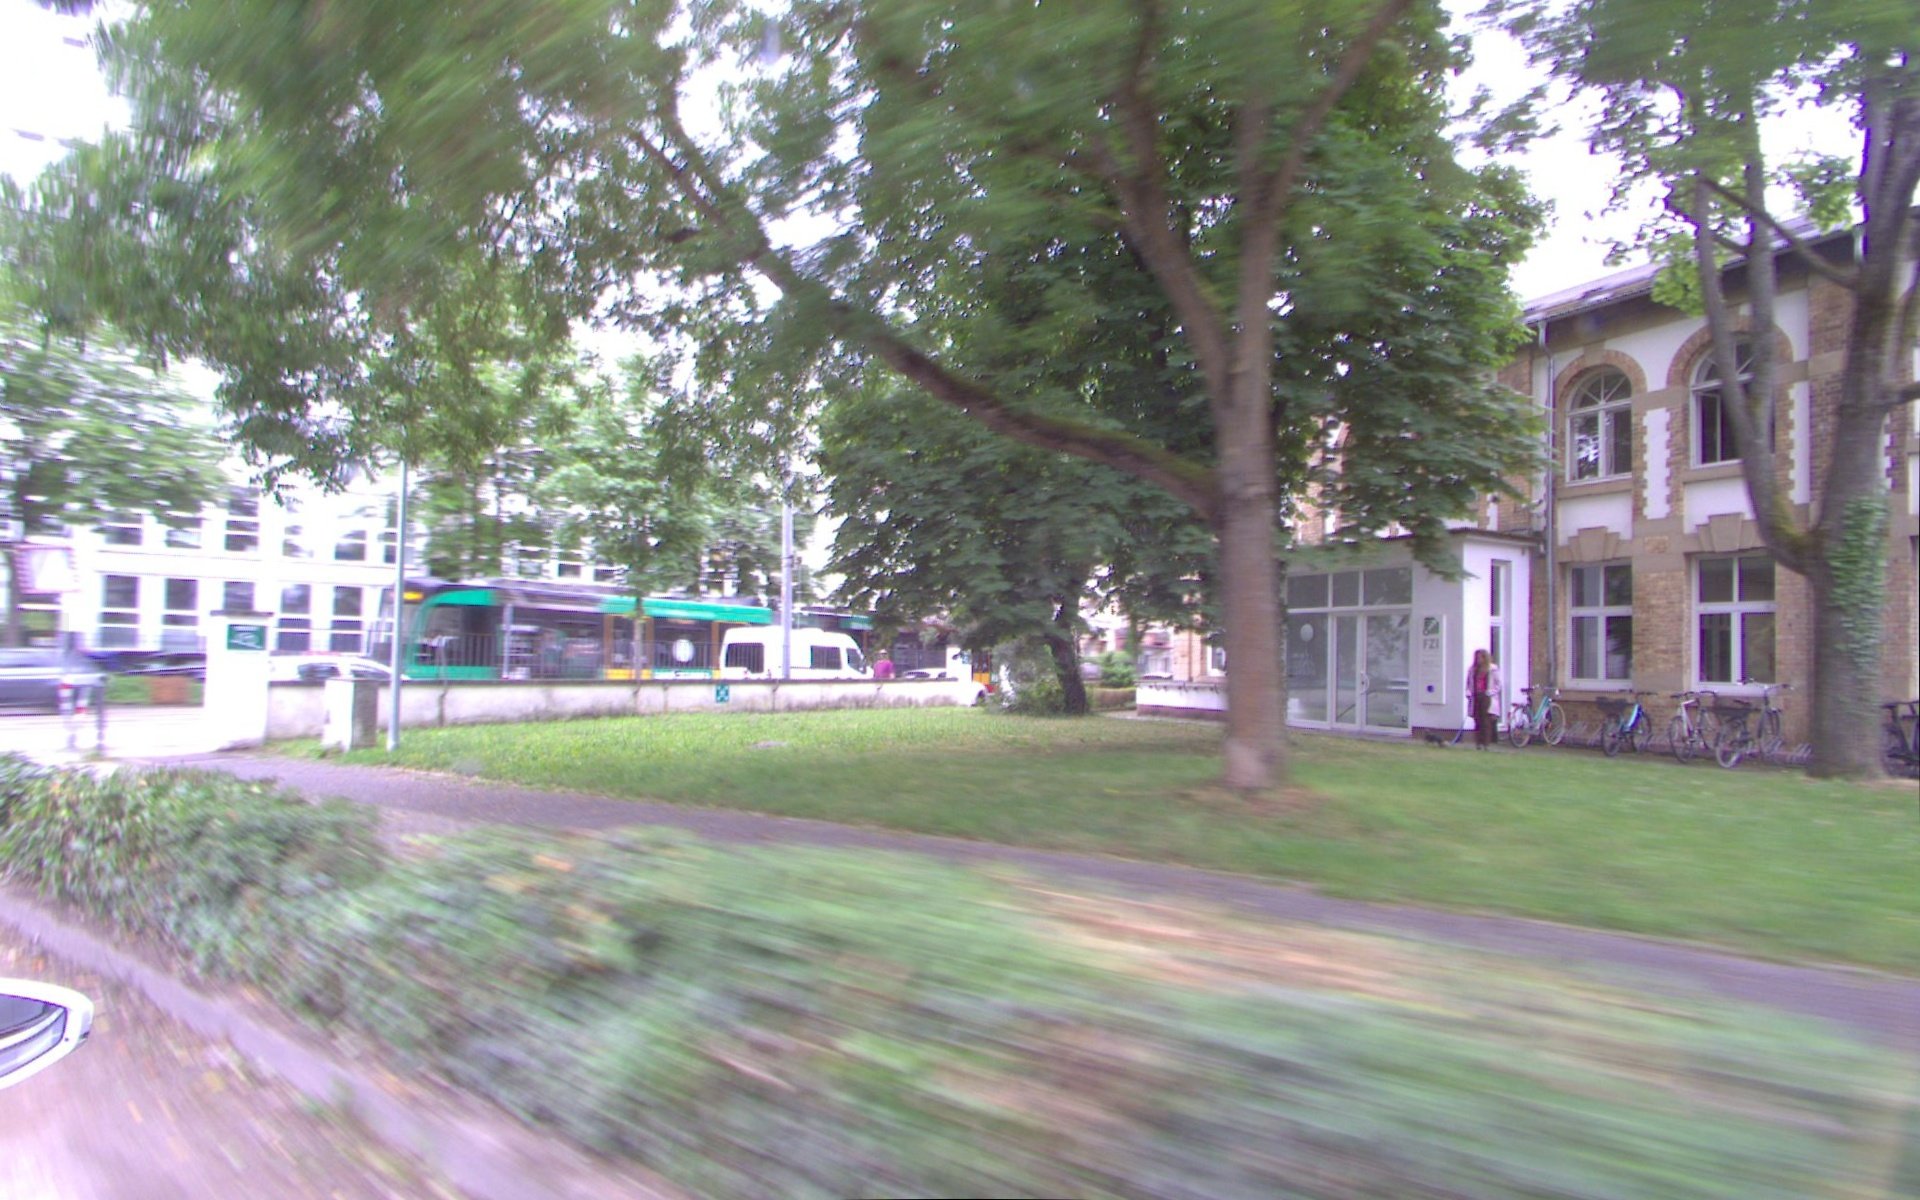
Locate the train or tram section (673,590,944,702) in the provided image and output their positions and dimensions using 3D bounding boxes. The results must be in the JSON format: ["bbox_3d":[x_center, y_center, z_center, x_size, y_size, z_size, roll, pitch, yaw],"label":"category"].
[{"bbox_3d":[-5.218,1.850,38.462,2.631,3.659,12.396,-1,-3,33],"label":"train or tram section"}]

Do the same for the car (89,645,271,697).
[{"bbox_3d":[-23.192,2.127,29.929,3.883,1.492,1.672,1,-3,-14],"label":"car"}]

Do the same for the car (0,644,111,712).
[{"bbox_3d":[-20.845,1.666,21.694,1.499,1.437,3.415,-1,-3,33],"label":"car"}]

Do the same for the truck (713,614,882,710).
[{"bbox_3d":[-4.659,1.801,29.427,2.140,2.577,4.904,-1,-3,33],"label":"truck"}]

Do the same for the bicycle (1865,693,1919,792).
[{"bbox_3d":[12.411,1.808,12.938,1.718,1.129,0.459,0,-1,-27],"label":"bicycle"}]

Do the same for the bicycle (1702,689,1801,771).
[{"bbox_3d":[11.489,1.864,14.525,1.718,1.128,0.459,3,-3,-27],"label":"bicycle"}]

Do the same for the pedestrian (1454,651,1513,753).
[{"bbox_3d":[8.463,1.634,16.202,0.595,1.606,0.624,2,-2,-29],"label":"pedestrian"}]

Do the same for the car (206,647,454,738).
[{"bbox_3d":[-11.739,1.695,18.858,1.643,1.519,3.576,-1,-4,34],"label":"car"}]

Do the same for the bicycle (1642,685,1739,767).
[{"bbox_3d":[11.122,1.891,15.235,1.718,1.129,0.459,0,-2,-27],"label":"bicycle"}]

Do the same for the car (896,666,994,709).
[{"bbox_3d":[-0.462,3.072,35.587,1.785,1.371,3.796,-1,-3,30],"label":"car"}]

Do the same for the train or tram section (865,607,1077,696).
[{"bbox_3d":[1.102,2.520,47.955,2.631,3.659,14.698,-1,-3,33],"label":"train or tram section"}]

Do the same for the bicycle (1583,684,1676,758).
[{"bbox_3d":[10.725,1.920,16.018,1.718,1.128,0.459,3,-3,-27],"label":"bicycle"}]

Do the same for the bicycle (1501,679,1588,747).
[{"bbox_3d":[10.137,1.945,17.359,1.718,1.128,0.459,3,-3,-27],"label":"bicycle"}]

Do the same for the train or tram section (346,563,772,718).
[{"bbox_3d":[-10.928,1.314,29.681,2.631,3.659,12.396,-1,-3,33],"label":"train or tram section"}]

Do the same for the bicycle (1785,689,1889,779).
[{"bbox_3d":[12.046,1.811,13.742,1.718,1.129,0.459,1,-2,-27],"label":"bicycle"}]

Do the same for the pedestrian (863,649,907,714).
[{"bbox_3d":[-2.064,2.245,27.671,0.796,1.739,0.953,0,-3,27],"label":"pedestrian"}]
